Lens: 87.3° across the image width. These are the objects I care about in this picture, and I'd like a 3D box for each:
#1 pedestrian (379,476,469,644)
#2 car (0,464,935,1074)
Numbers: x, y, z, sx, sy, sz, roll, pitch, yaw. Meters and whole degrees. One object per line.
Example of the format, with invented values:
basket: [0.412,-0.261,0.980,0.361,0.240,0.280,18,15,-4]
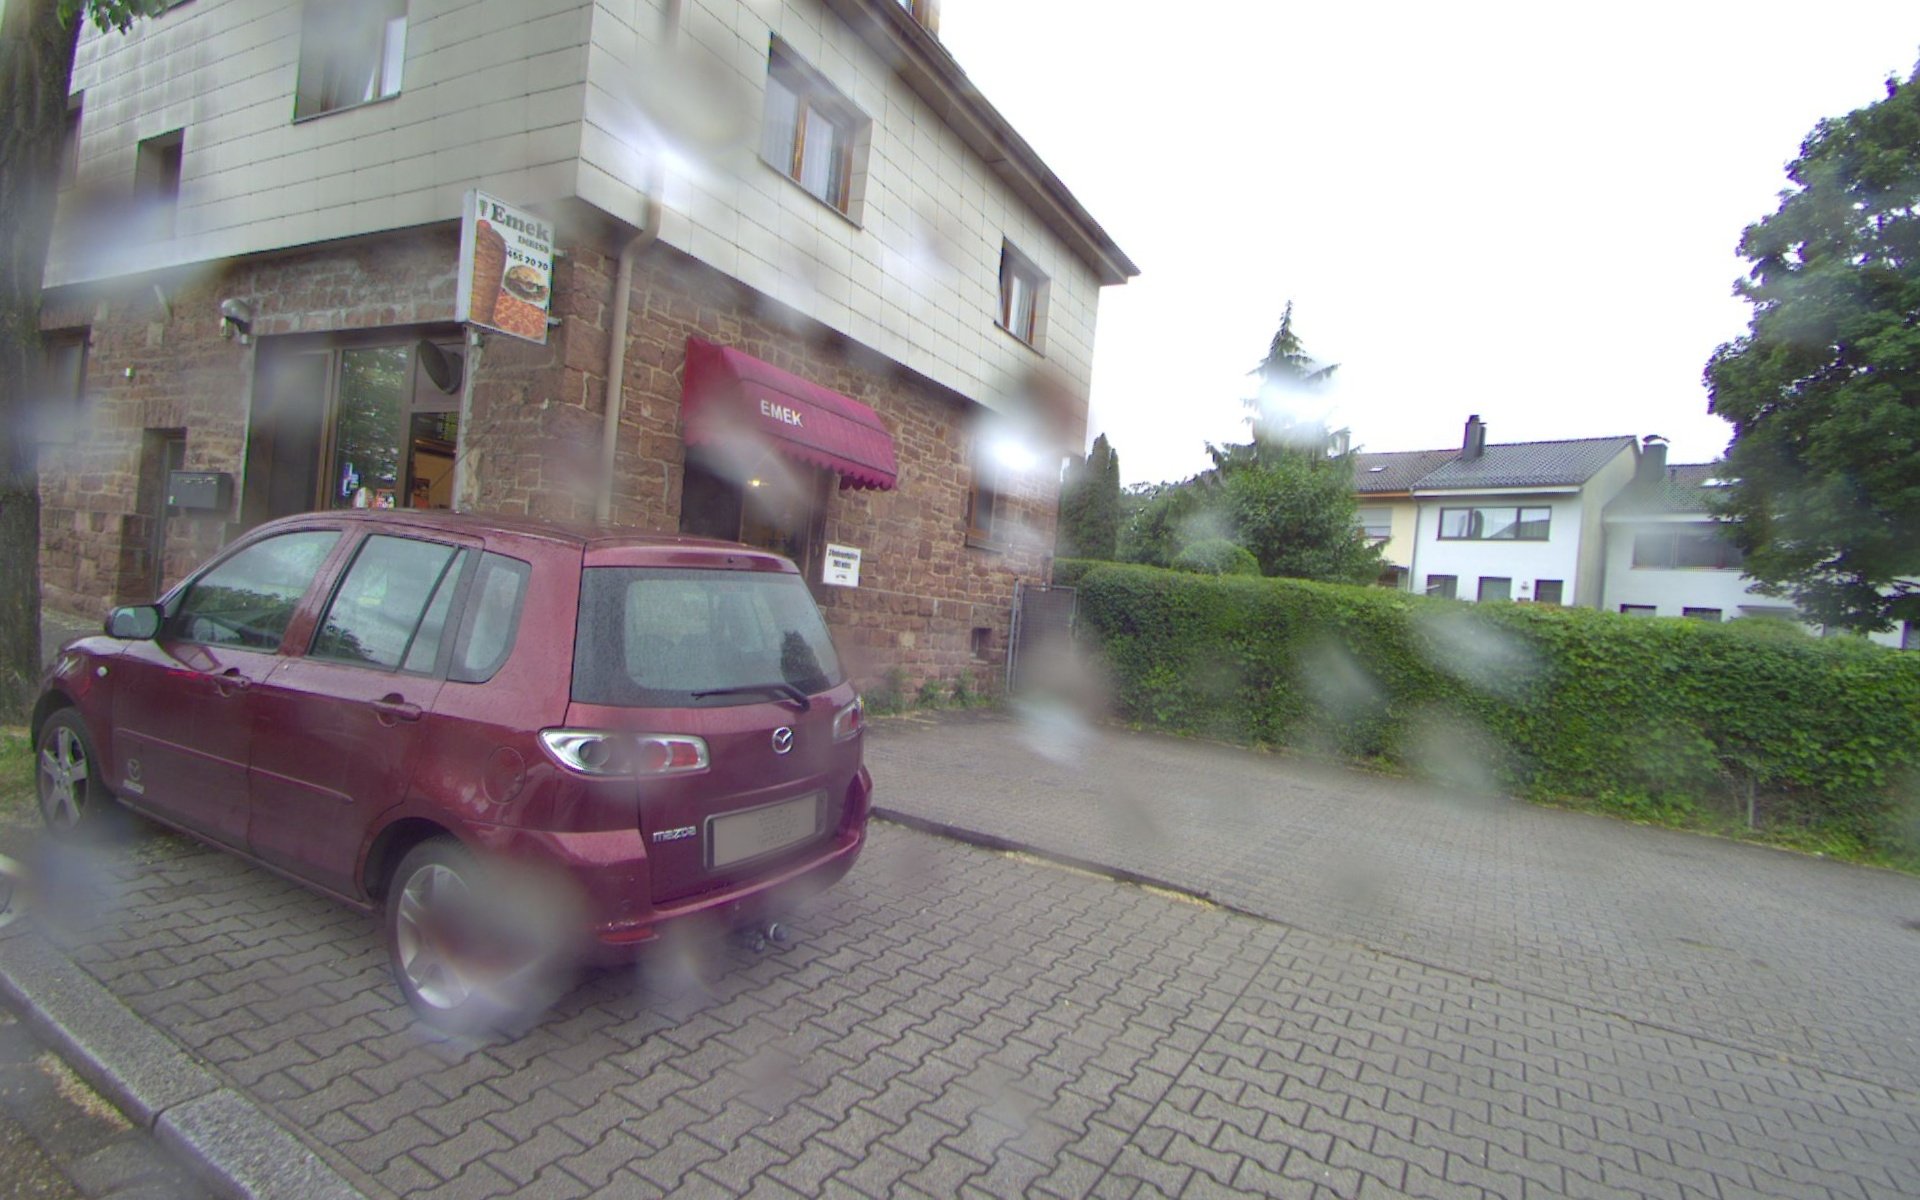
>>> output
pedestrian: [-5.622,-0.412,10.554,0.447,1.679,0.493,7,-1,31]
car: [-2.159,0.374,4.122,3.692,1.521,1.614,5,-3,29]
